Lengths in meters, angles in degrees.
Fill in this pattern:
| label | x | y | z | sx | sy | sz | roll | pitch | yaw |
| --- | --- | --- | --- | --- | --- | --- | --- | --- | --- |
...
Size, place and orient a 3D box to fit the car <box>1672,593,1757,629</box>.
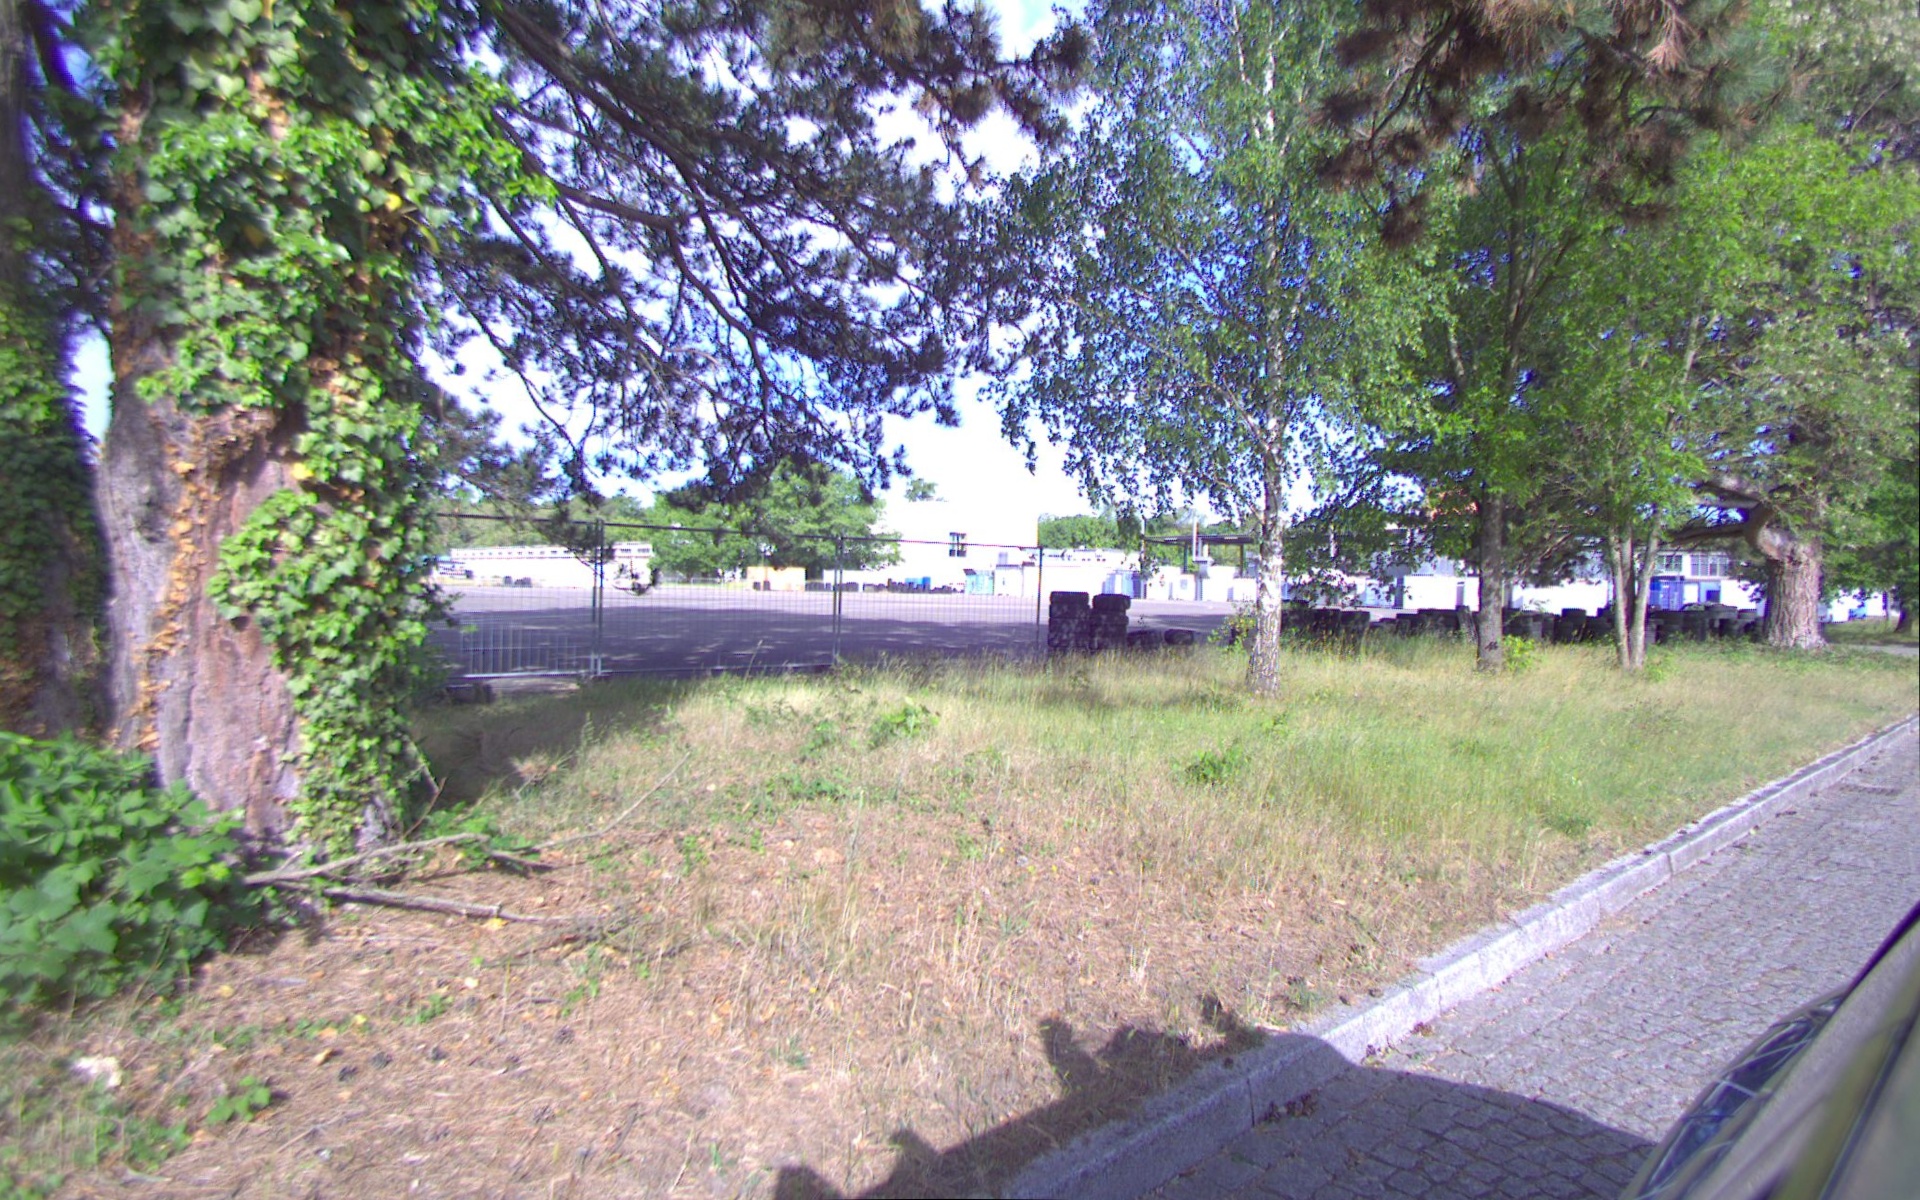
| label | x | y | z | sx | sy | sz | roll | pitch | yaw |
| --- | --- | --- | --- | --- | --- | --- | --- | --- | --- |
| car | 33.561 | 0.489 | 44.984 | 3.924 | 1.467 | 1.849 | 1 | 1 | -35 |
